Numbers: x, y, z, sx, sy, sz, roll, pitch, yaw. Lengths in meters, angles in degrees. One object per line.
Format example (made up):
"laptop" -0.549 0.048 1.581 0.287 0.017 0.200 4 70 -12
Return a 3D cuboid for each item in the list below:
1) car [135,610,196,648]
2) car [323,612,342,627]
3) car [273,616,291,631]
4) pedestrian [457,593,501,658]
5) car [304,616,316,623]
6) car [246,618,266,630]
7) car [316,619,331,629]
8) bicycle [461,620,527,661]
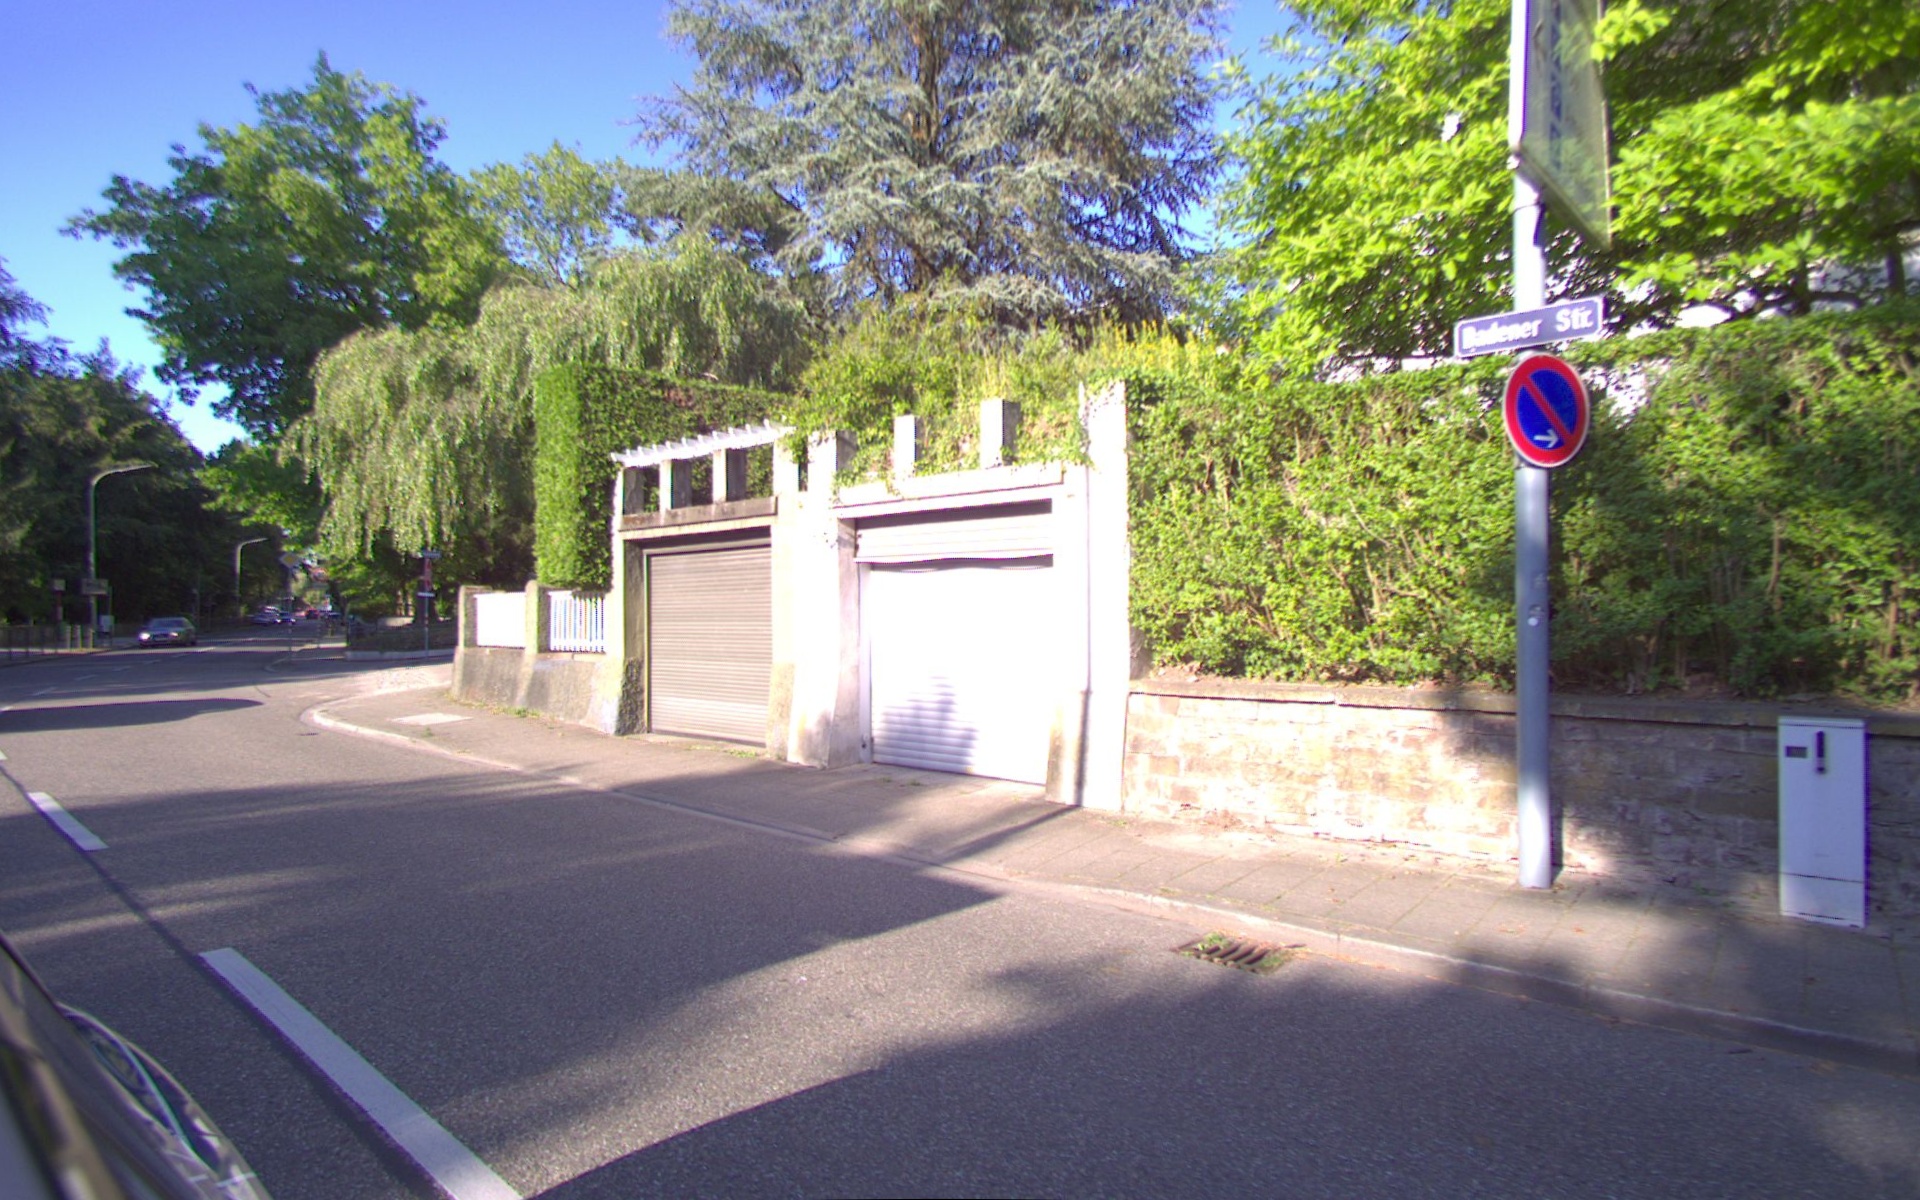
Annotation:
"car" -38.675 1.388 49.337 1.967 1.652 4.010 -3 1 -34
"car" -68.381 2.113 110.198 1.662 1.444 3.626 -4 1 -32
"car" -90.315 3.131 134.818 1.967 2.029 4.011 -1 0 -34
"pedestrian" -14.013 0.726 29.498 0.550 1.840 0.937 -4 -1 21
"car" -132.174 3.932 205.801 1.795 1.393 3.945 4 -2 -35
"car" -84.834 2.889 121.937 1.795 1.393 3.945 4 -2 -35
"car" -99.280 3.793 157.844 1.795 1.393 3.945 4 -2 -35
"bicycle" -13.472 1.159 29.314 0.558 1.051 1.804 -3 -1 22
